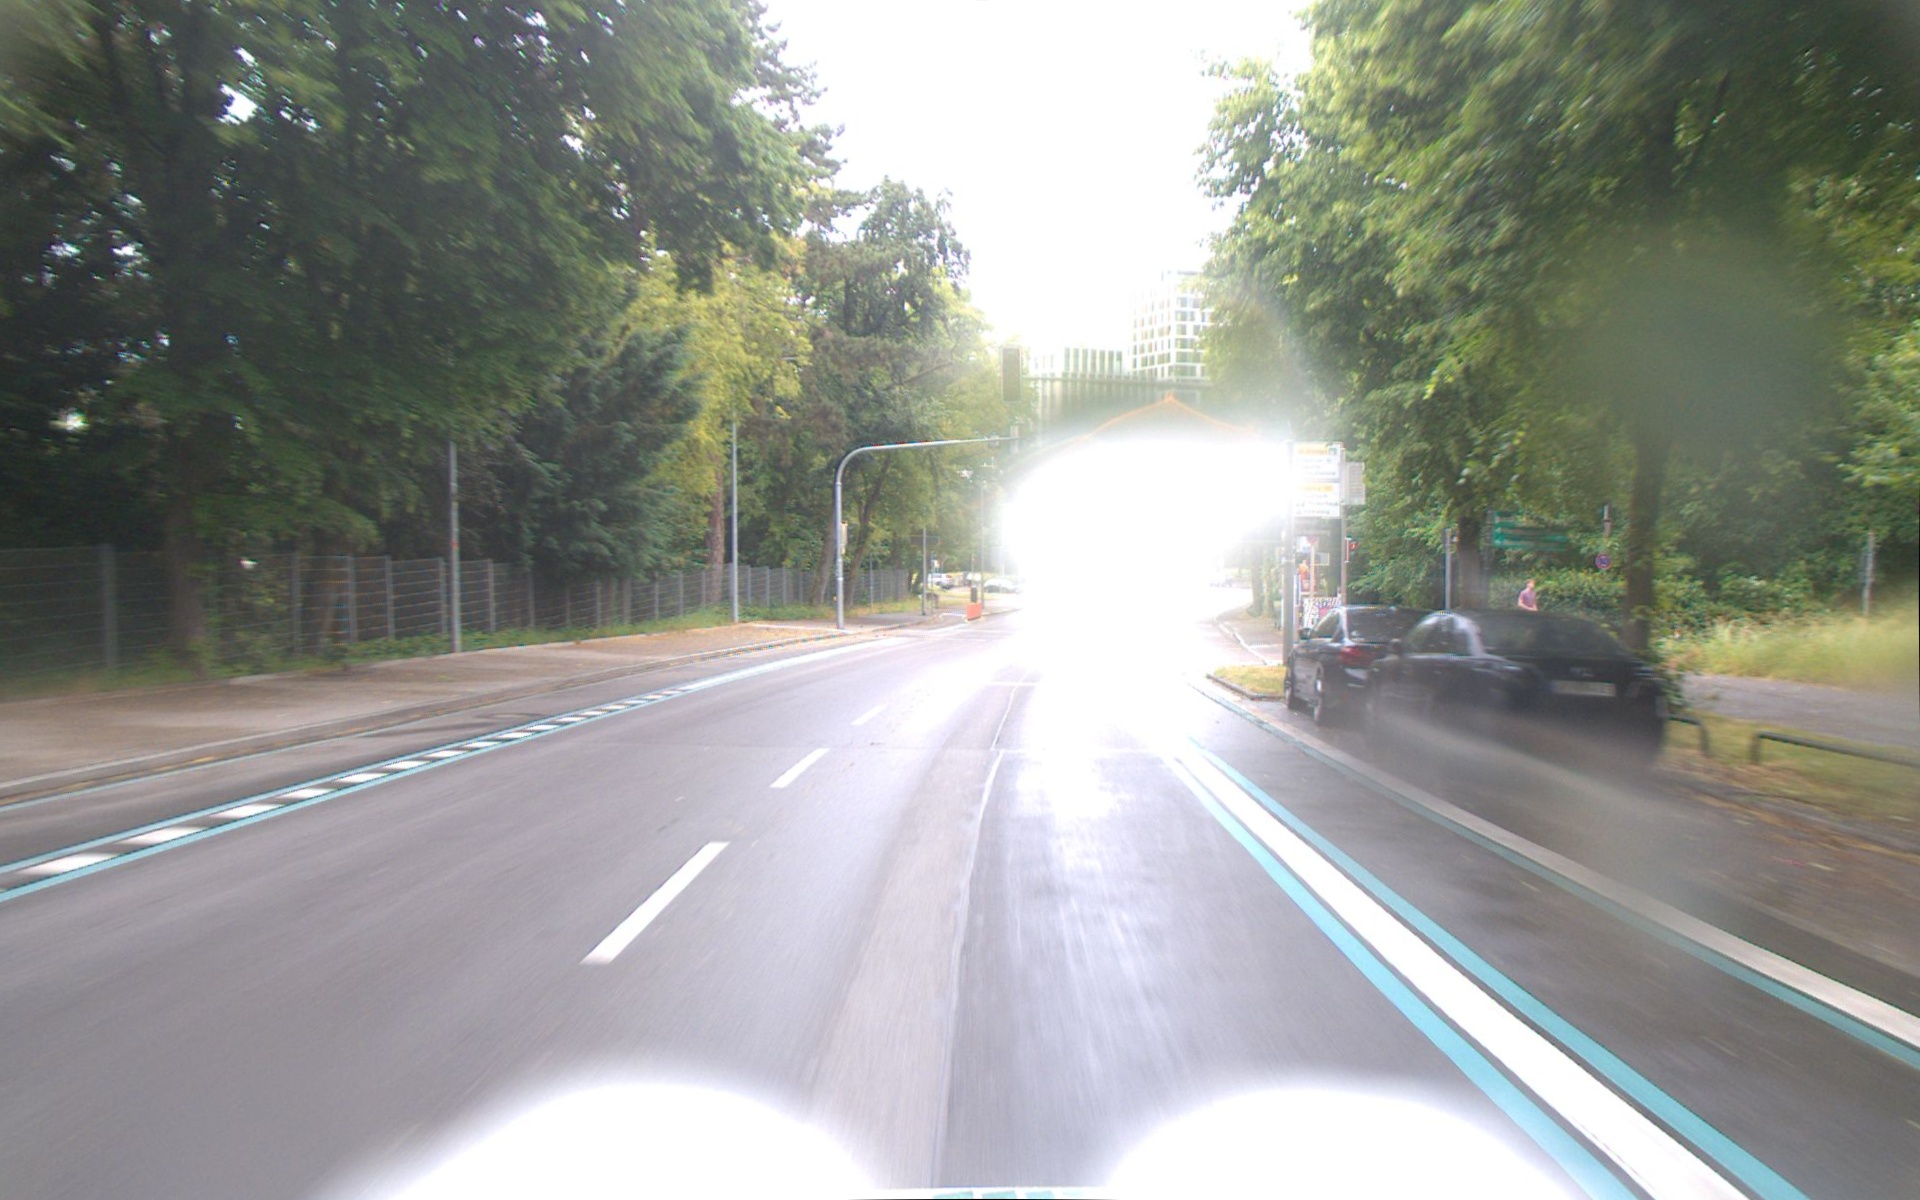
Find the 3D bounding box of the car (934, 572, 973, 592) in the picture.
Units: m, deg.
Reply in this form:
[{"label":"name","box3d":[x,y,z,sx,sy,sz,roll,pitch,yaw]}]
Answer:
[{"label":"car","box3d":[-0.643,-1.830,170.725,1.962,2.049,3.980,1,0,39]}]

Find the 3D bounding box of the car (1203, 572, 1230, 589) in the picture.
[{"label":"car","box3d":[28.035,-2.125,180.645,1.953,1.715,3.999,1,0,23]}]

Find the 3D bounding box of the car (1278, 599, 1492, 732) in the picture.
[{"label":"car","box3d":[5.313,0.745,21.294,1.721,1.465,4.859,2,0,3]}]

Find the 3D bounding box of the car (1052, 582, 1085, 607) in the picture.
[{"label":"car","box3d":[7.003,-0.390,105.971,1.804,1.482,4.504,1,2,8]}]

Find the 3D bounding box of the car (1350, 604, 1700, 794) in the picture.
[{"label":"car","box3d":[5.088,0.802,15.627,1.664,1.445,4.763,2,0,0]}]

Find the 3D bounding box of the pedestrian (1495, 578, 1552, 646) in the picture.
[{"label":"pedestrian","box3d":[14.895,0.311,43.719,0.877,1.763,1.135,1,0,-30]}]

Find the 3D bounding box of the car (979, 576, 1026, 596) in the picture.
[{"label":"car","box3d":[3.853,-1.280,150.779,3.907,1.466,1.607,6,3,21]}]
